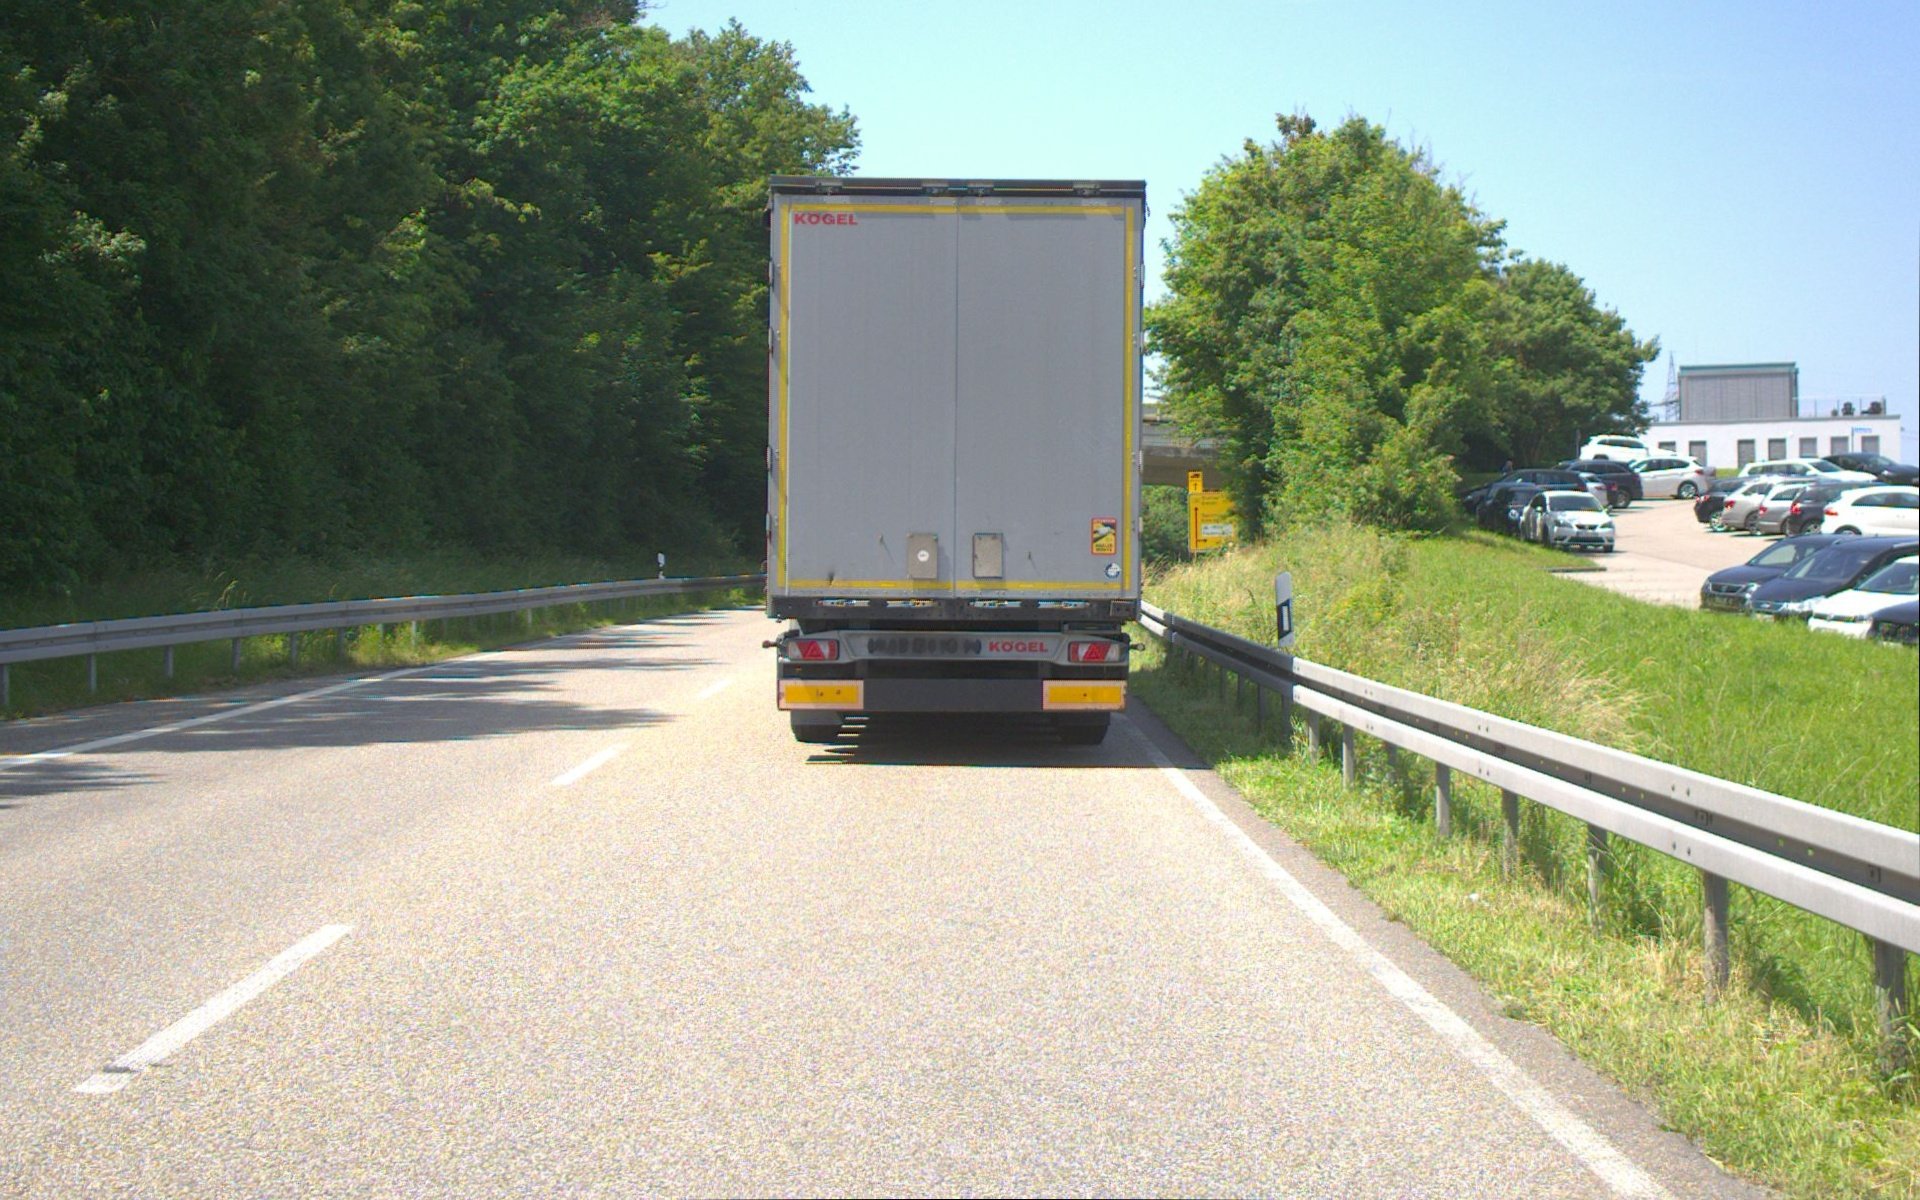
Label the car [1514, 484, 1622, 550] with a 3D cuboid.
[{"bbox_3d":[14.869,-2.059,84.246,1.624,1.349,3.712,4,3,-4],"label":"car"}]

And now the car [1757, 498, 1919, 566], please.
[{"bbox_3d":[22.303,-1.712,85.627,4.576,1.623,1.819,1,2,21],"label":"car"}]

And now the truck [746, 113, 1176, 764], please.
[{"bbox_3d":[-0.051,-1.177,27.917,2.866,4.344,9.790,0,1,-1],"label":"truck"}]

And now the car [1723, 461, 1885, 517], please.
[{"bbox_3d":[26.661,-3.524,108.609,4.581,1.623,1.817,3,1,34],"label":"car"}]

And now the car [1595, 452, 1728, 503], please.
[{"bbox_3d":[24.892,-4.366,122.017,4.362,1.679,1.889,-1,6,-28],"label":"car"}]

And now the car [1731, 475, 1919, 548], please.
[{"bbox_3d":[22.397,-2.311,88.728,4.577,1.623,1.819,4,3,20],"label":"car"}]

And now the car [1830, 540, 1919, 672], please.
[{"bbox_3d":[14.786,0.169,49.006,4.362,1.679,1.889,3,4,-29],"label":"car"}]

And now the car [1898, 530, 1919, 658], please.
[{"bbox_3d":[15.036,0.074,46.377,4.362,1.679,1.889,3,4,-29],"label":"car"}]

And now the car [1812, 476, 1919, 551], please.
[{"bbox_3d":[22.262,-1.975,79.840,4.577,1.623,1.819,3,2,20],"label":"car"}]

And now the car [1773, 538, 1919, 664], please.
[{"bbox_3d":[14.800,0.073,52.511,4.362,1.679,1.889,3,4,-29],"label":"car"}]

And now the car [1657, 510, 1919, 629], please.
[{"bbox_3d":[14.227,-0.503,58.386,4.362,1.679,1.889,3,4,-29],"label":"car"}]

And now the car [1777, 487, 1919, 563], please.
[{"bbox_3d":[22.099,-1.780,82.557,4.577,1.623,1.819,4,3,20],"label":"car"}]

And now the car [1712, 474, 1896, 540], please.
[{"bbox_3d":[22.578,-2.485,91.932,4.576,1.623,1.818,2,0,20],"label":"car"}]

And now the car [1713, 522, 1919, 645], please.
[{"bbox_3d":[14.460,-0.230,55.144,4.362,1.679,1.889,3,4,-29],"label":"car"}]

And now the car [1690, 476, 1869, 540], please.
[{"bbox_3d":[22.648,-2.543,94.979,4.576,1.623,1.819,2,1,21],"label":"car"}]
